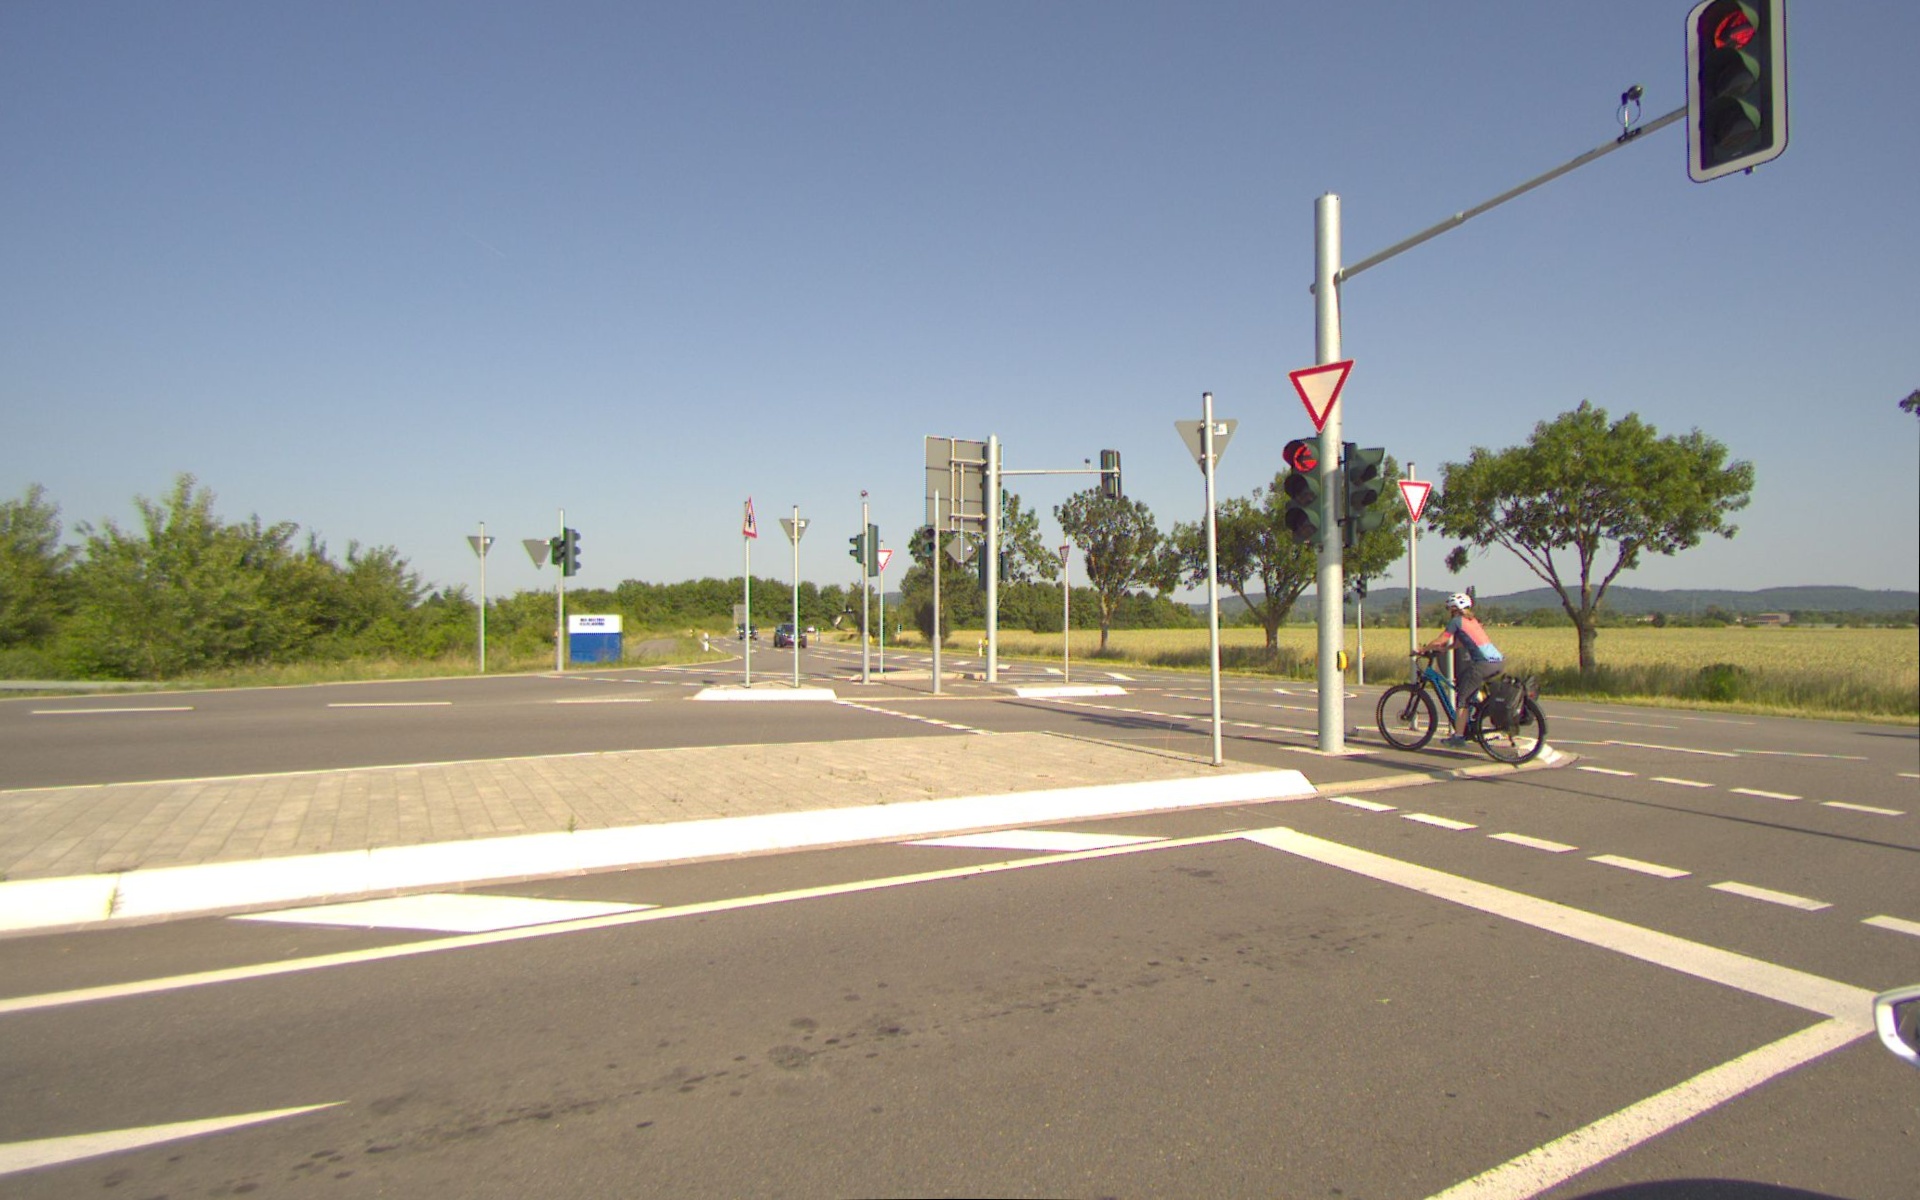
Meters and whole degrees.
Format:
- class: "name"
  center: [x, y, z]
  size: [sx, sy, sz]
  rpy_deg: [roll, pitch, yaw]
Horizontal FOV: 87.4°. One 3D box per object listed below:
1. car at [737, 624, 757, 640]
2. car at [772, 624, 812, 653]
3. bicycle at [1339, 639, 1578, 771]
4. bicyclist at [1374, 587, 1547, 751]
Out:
- class: "car"
  center: [-22.460, 3.406, 105.862]
  size: [1.740, 1.578, 3.843]
  rpy_deg: [2, -3, -15]
- class: "car"
  center: [-11.716, 2.650, 69.907]
  size: [1.969, 1.746, 4.598]
  rpy_deg: [2, 0, -19]
- class: "bicycle"
  center: [5.296, 1.065, 10.824]
  size: [0.881, 1.202, 2.142]
  rpy_deg: [2, -1, -34]
- class: "bicyclist"
  center: [5.355, 0.683, 10.773]
  size: [1.153, 1.623, 1.271]
  rpy_deg: [0, 0, -34]
